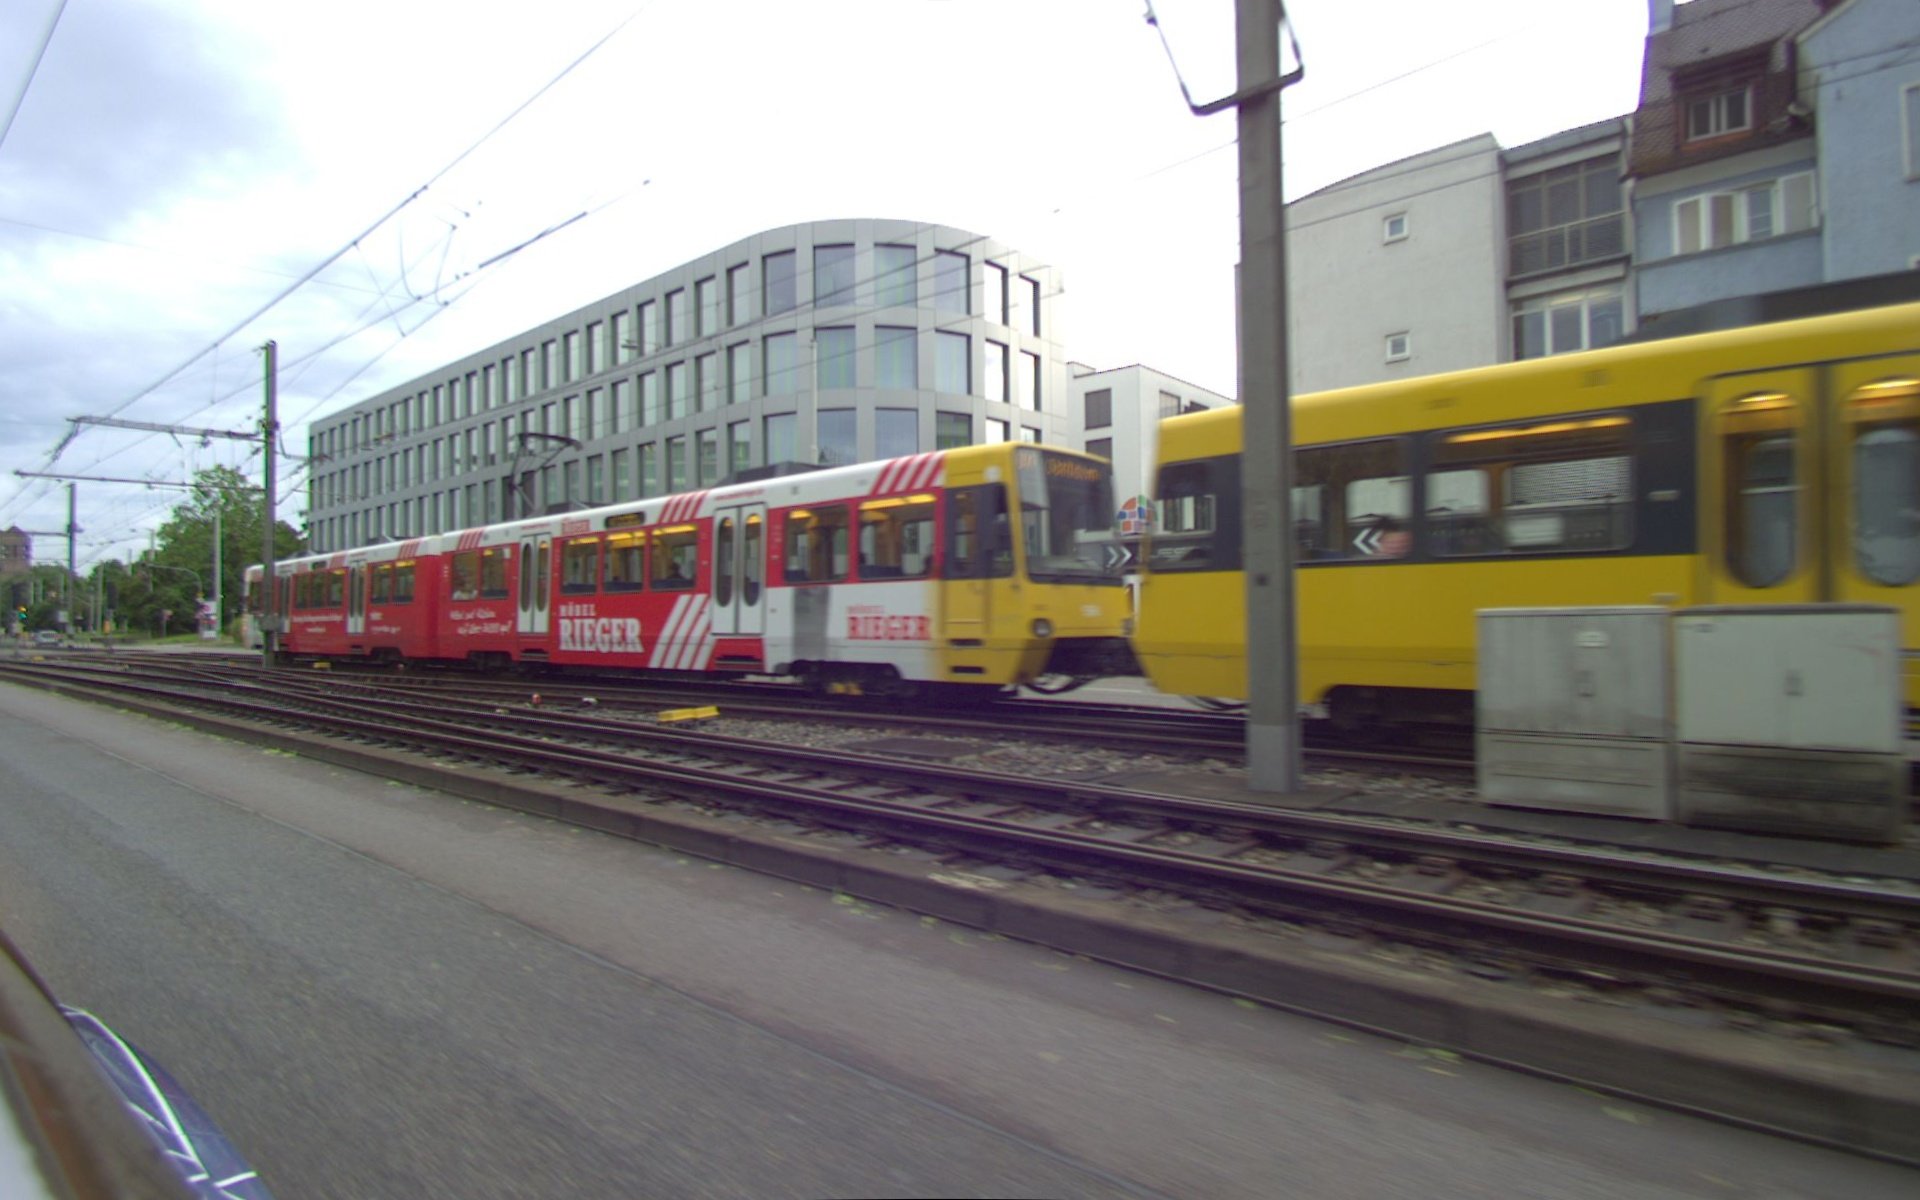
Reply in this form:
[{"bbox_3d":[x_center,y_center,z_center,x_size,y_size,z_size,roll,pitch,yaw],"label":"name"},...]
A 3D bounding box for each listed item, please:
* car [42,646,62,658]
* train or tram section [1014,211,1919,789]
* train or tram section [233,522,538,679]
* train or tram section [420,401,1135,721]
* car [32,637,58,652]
[{"bbox_3d":[-129.411,7.372,144.281,3.563,1.561,1.752,-2,-2,42],"label":"car"},{"bbox_3d":[8.661,-0.706,6.595,19.095,3.840,2.935,-2,-2,43],"label":"train or tram section"},{"bbox_3d":[-19.088,0.249,32.227,18.611,3.840,2.935,-2,-2,43],"label":"train or tram section"},{"bbox_3d":[-5.382,-0.231,19.545,18.611,3.840,2.935,-2,-2,43],"label":"train or tram section"},{"bbox_3d":[-104.331,5.063,115.395,3.562,1.649,1.788,-2,-2,41],"label":"car"}]
